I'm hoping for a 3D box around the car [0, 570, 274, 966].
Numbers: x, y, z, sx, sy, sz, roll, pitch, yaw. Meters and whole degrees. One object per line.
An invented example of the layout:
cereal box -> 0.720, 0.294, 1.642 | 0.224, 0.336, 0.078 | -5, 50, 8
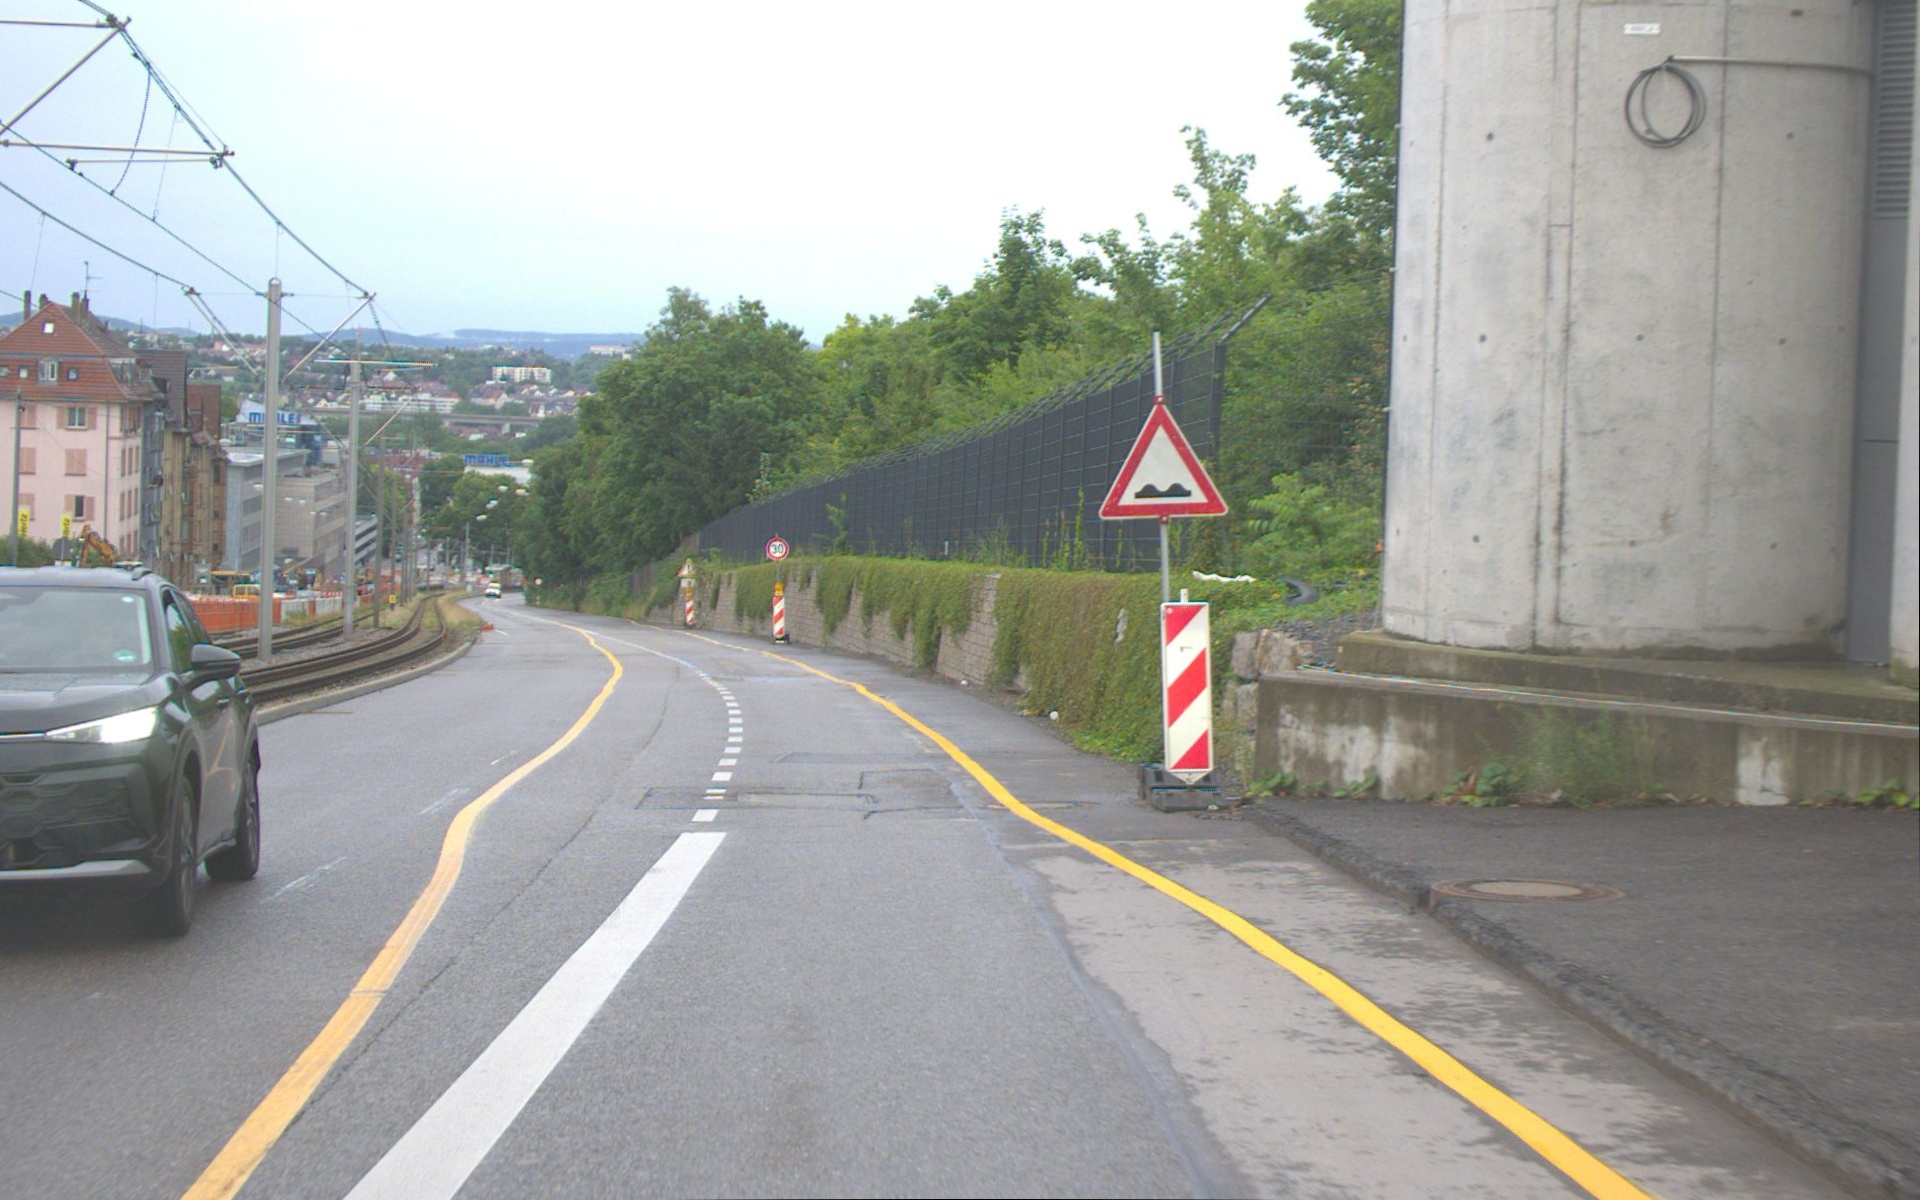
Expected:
car -> -4.092, 0.629, 14.941 | 1.788, 1.459, 3.952 | -1, 1, -6
